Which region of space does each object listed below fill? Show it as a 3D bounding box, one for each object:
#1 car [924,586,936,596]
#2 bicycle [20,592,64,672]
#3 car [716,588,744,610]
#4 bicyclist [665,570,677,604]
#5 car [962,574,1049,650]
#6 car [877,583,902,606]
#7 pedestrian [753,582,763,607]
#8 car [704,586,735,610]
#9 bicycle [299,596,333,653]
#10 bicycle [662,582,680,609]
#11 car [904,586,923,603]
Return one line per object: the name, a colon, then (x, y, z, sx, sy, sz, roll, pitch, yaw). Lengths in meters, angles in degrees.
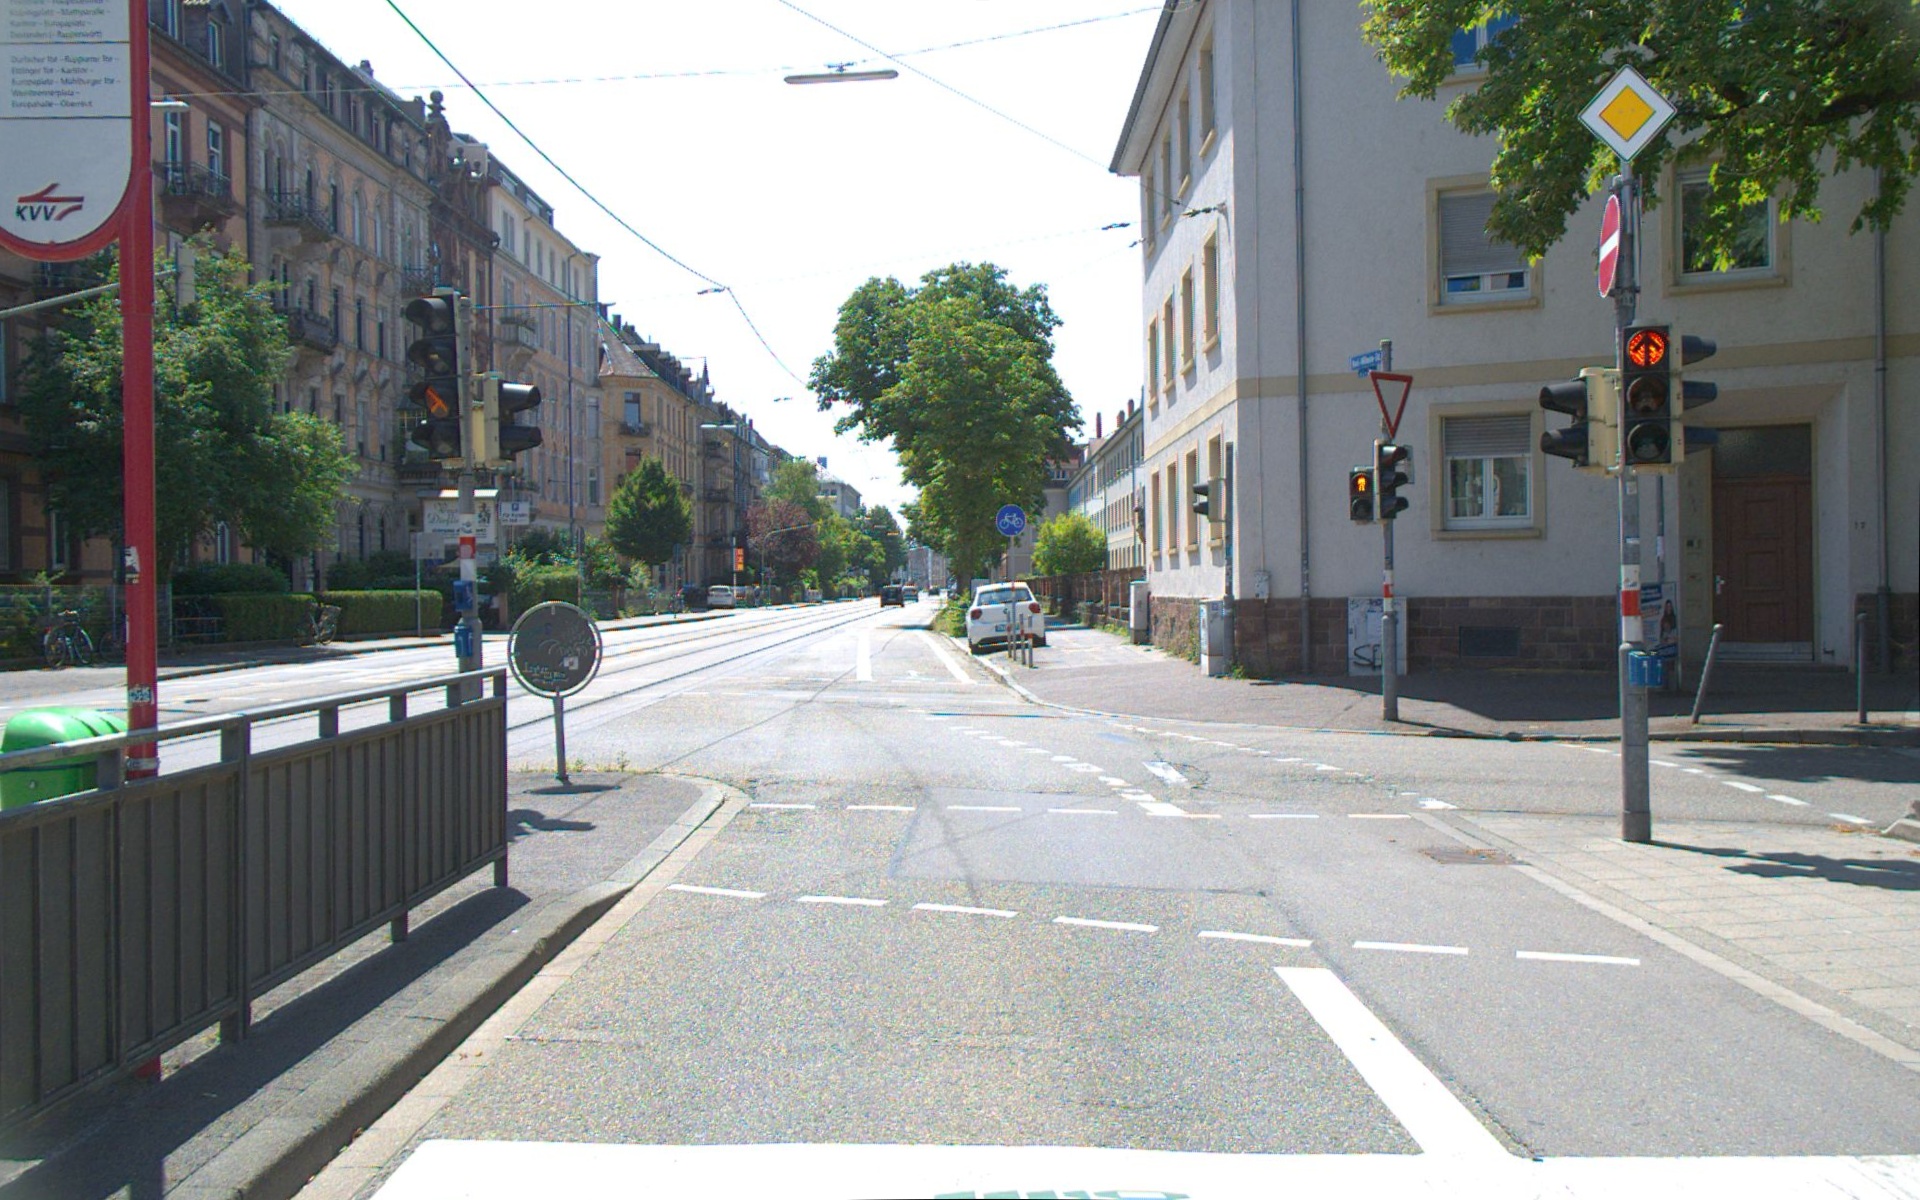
car: (-4.582, -1.356, 249.593, 1.596, 1.498, 3.562, -4, 0, -3)
bicycle: (-16.865, 0.567, 30.415, 0.607, 1.420, 2.288, 0, 0, -26)
car: (-17.200, -0.049, 123.795, 1.596, 1.498, 3.562, -4, 0, -3)
bicyclist: (-15.293, -0.688, 87.495, 0.531, 1.794, 0.498, 0, 0, -1)
car: (0.977, 0.258, 37.380, 1.712, 1.498, 3.937, -4, 0, -1)
car: (-4.875, -0.372, 114.747, 1.493, 1.469, 3.364, -2, 0, 0)
pedestrian: (-14.356, -0.372, 117.460, 0.664, 1.758, 0.677, 0, 0, -1)
car: (-16.775, -0.150, 115.380, 1.651, 1.498, 3.936, -4, 0, -3)
bicycle: (-15.911, 0.585, 40.844, 0.584, 1.380, 2.419, 0, 0, -26)
bicycle: (-15.292, -0.245, 87.554, 0.565, 1.412, 2.501, 0, 0, -1)
car: (-4.346, -0.512, 154.849, 1.712, 1.498, 3.937, -4, 0, -1)
